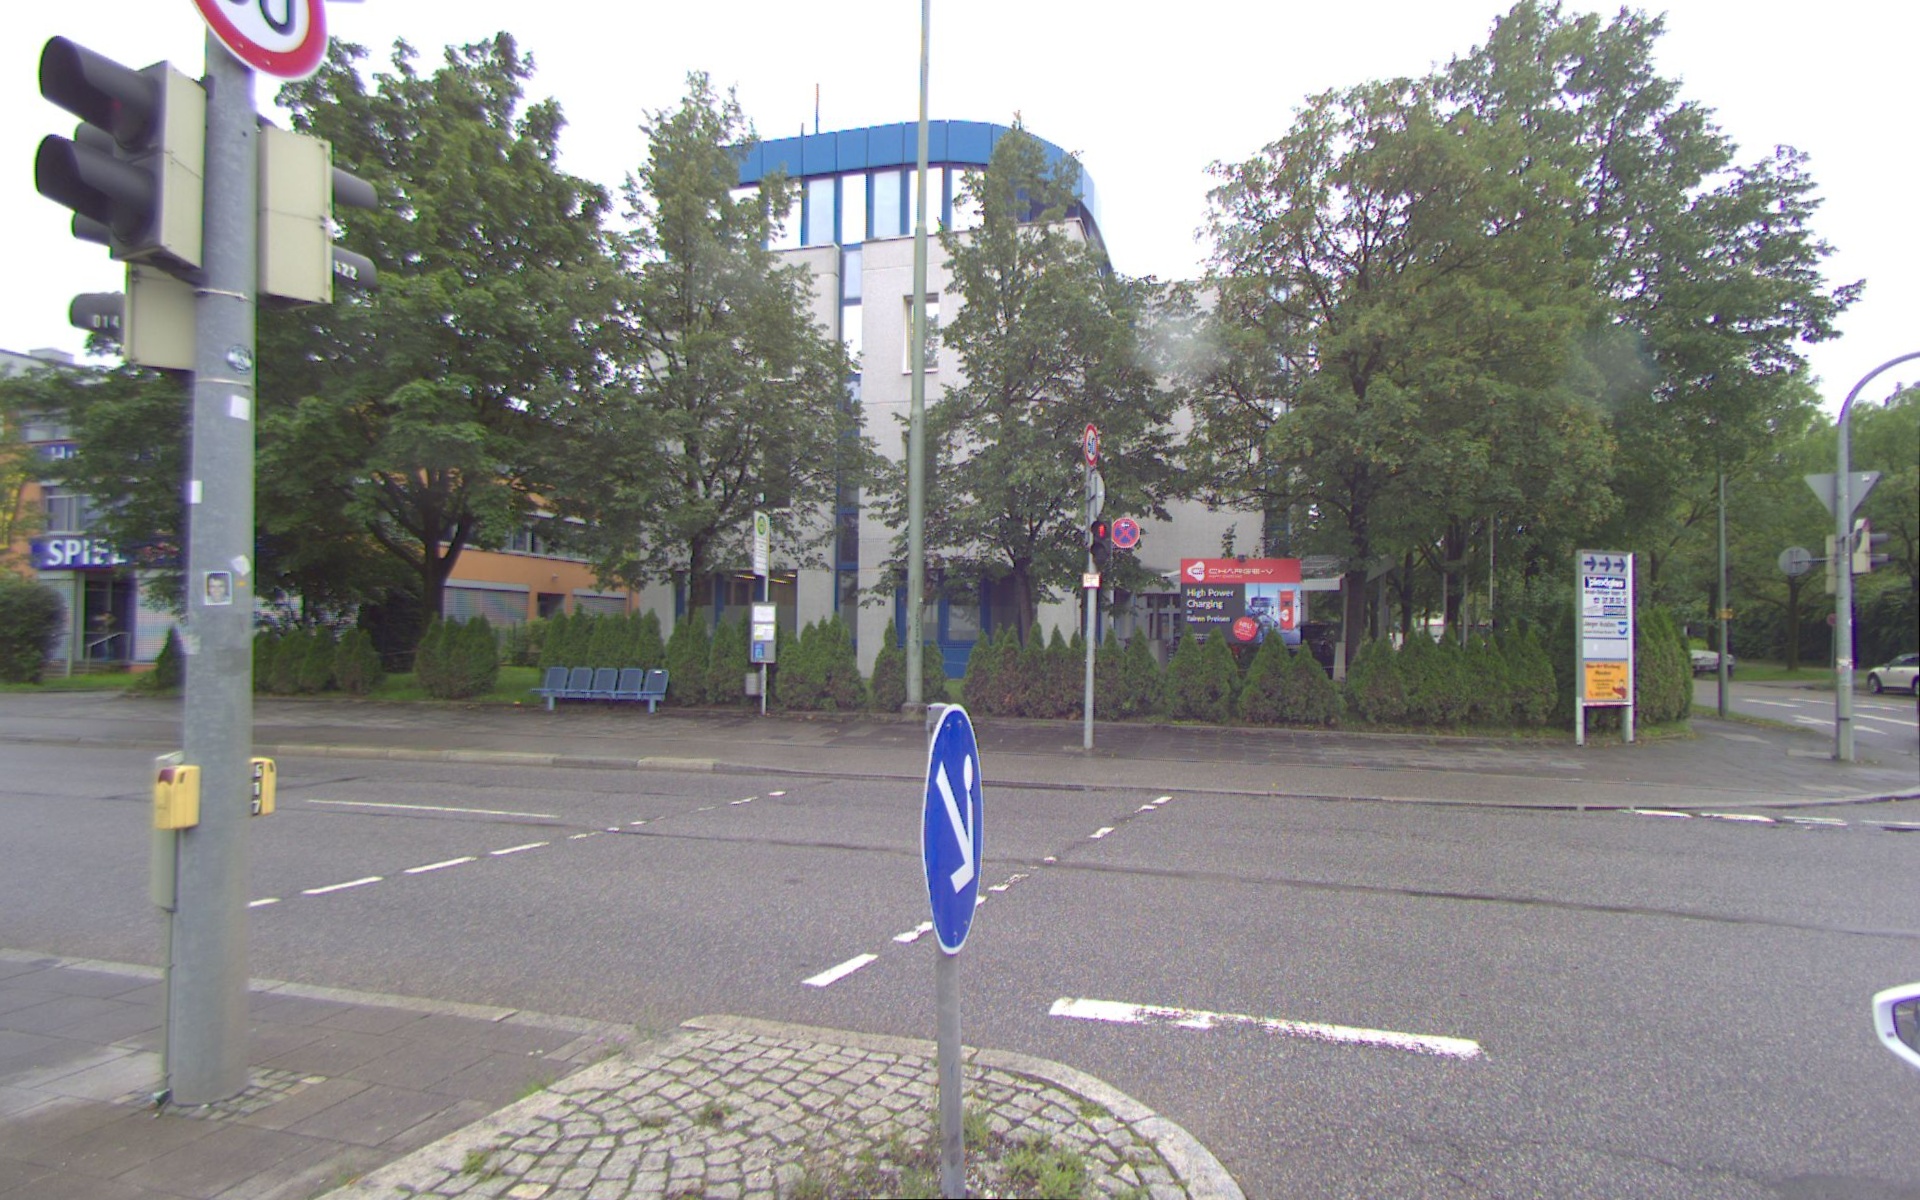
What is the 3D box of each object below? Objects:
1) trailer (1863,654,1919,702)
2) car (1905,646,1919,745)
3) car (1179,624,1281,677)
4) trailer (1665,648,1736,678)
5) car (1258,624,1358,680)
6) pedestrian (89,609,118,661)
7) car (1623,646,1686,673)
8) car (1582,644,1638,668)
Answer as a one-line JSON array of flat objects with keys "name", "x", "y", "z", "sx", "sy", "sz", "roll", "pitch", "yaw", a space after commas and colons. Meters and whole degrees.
[{"name": "trailer", "x": 32.022, "y": 2.583, "z": 33.638, "sx": 1.423, "sy": 1.432, "sz": 3.343, "roll": 0, "pitch": -1, "yaw": 19}, {"name": "car", "x": 17.382, "y": 1.655, "z": 16.682, "sx": 1.969, "sy": 1.745, "sz": 4.772, "roll": -1, "pitch": -3, "yaw": 38}, {"name": "car", "x": 8.200, "y": 1.457, "z": 30.233, "sx": 1.837, "sy": 1.437, "sz": 4.166, "roll": 0, "pitch": -1, "yaw": 32}, {"name": "trailer", "x": 36.419, "y": 3.076, "z": 49.476, "sx": 1.526, "sy": 1.279, "sz": 3.425, "roll": 0, "pitch": -1, "yaw": 12}, {"name": "car", "x": 10.092, "y": 1.435, "z": 28.931, "sx": 1.837, "sy": 1.437, "sz": 4.166, "roll": 0, "pitch": -1, "yaw": 32}, {"name": "pedestrian", "x": -28.879, "y": 1.177, "z": 33.852, "sx": 0.653, "sy": 1.735, "sz": 0.656, "roll": -1, "pitch": -1, "yaw": 43}, {"name": "car", "x": 37.290, "y": 3.160, "z": 54.015, "sx": 1.526, "sy": 1.279, "sz": 3.425, "roll": 0, "pitch": -1, "yaw": 10}, {"name": "car", "x": 38.154, "y": 3.253, "z": 59.035, "sx": 1.526, "sy": 1.279, "sz": 3.425, "roll": 0, "pitch": -1, "yaw": 10}]
